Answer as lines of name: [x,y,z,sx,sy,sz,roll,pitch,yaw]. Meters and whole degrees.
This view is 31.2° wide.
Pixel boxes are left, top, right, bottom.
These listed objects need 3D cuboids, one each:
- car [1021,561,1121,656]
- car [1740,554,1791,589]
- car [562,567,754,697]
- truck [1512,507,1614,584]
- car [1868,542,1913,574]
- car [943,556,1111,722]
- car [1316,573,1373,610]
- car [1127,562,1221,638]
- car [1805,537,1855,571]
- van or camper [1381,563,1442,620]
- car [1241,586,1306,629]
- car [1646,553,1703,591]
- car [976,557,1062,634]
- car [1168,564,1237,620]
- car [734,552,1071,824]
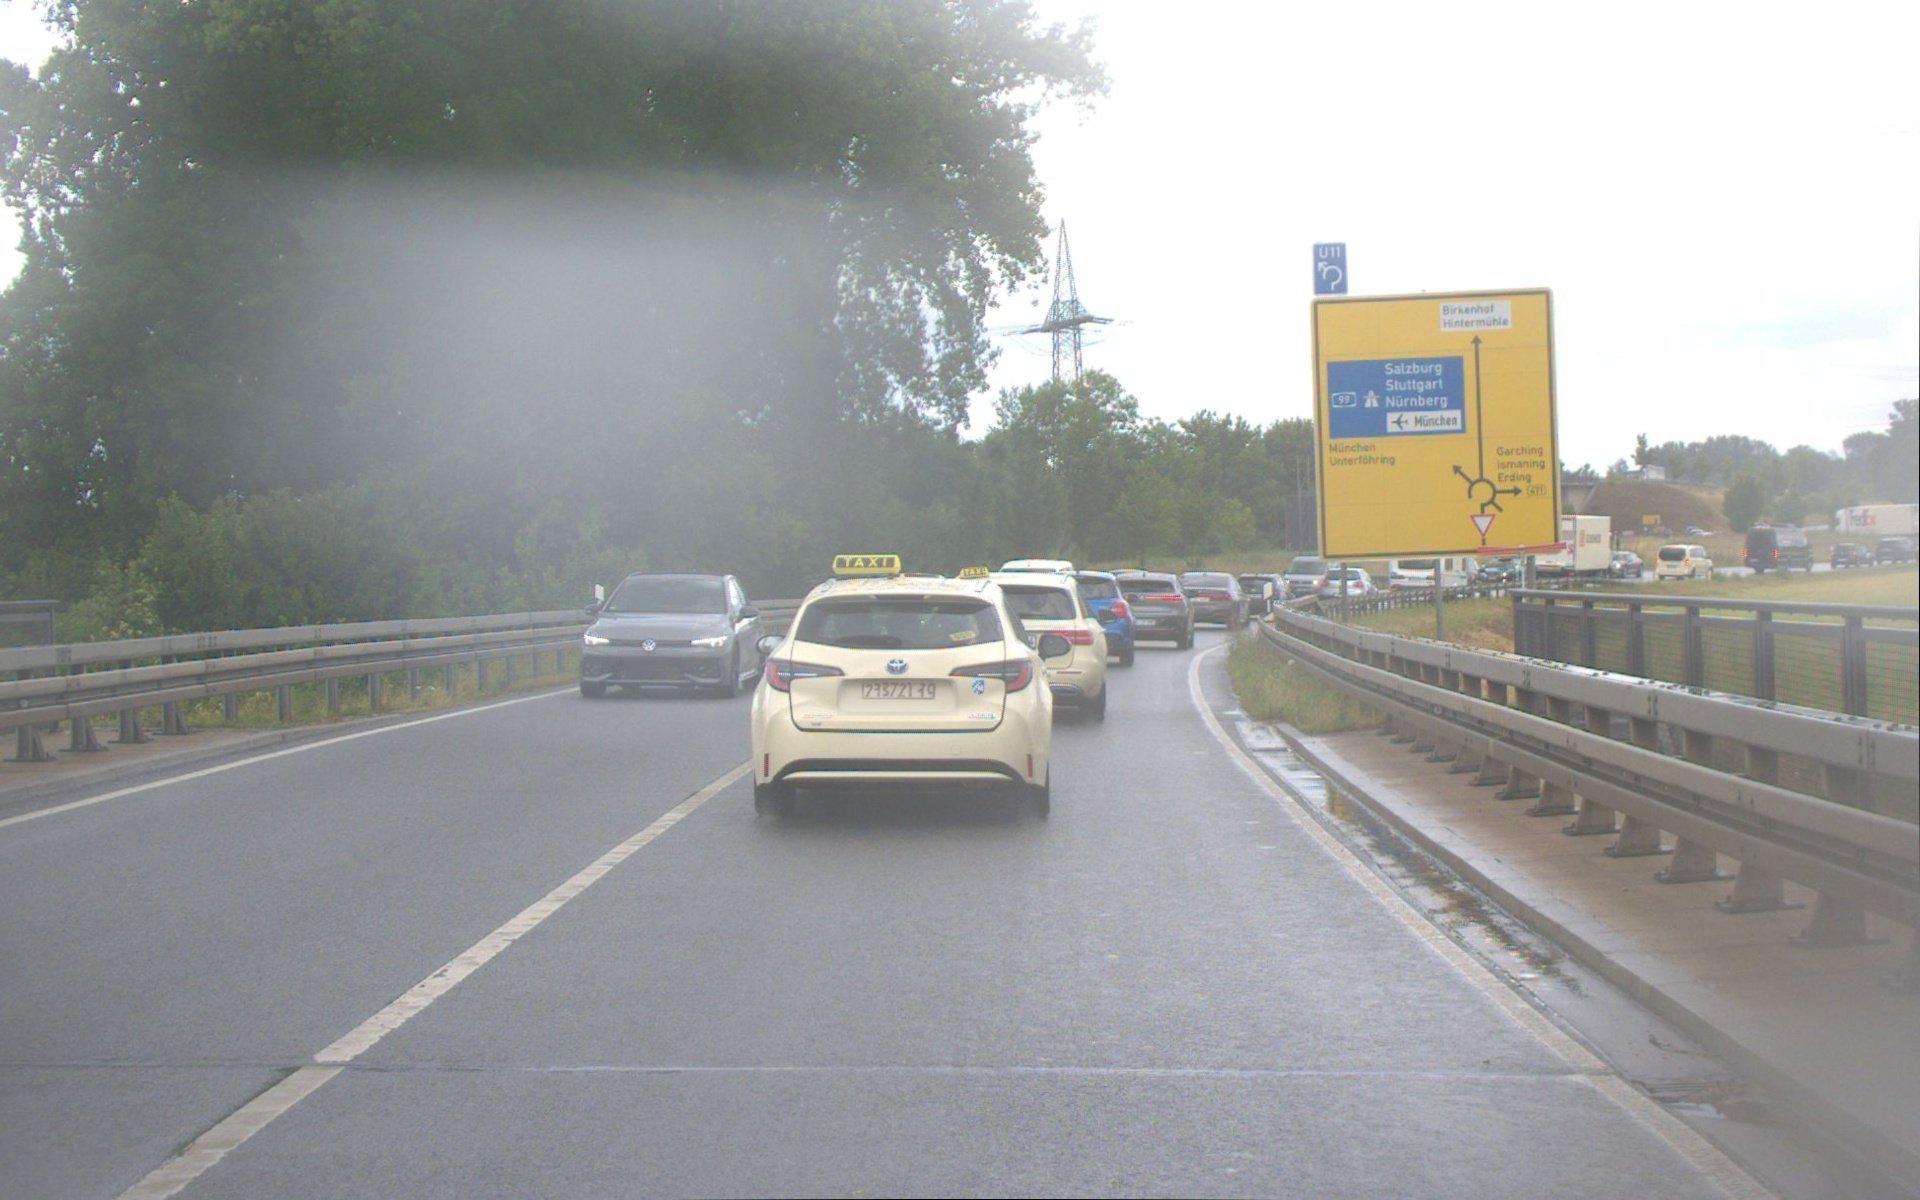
car: [1.734,0.130,54.300,1.506,1.432,3.355,1,0,1]
car: [47.202,-1.662,201.332,1.996,2.007,3.994,1,0,27]
car: [-3.526,0.357,40.753,1.835,1.438,4.103,1,0,1]
truck: [29.255,-2.588,166.602,3.144,3.550,7.512,1,0,24]
car: [59.683,-2.697,220.486,1.996,2.007,3.994,1,0,26]
car: [0.719,0.366,34.678,1.578,1.567,3.681,0,0,3]
car: [13.866,-0.290,123.902,1.484,1.304,3.474,0,0,16]
car: [4.252,-0.004,68.016,1.665,1.459,3.476,0,0,7]
car: [54.021,-2.871,213.391,2.229,2.007,3.994,1,0,26]
van or camper: [18.293,-0.341,139.170,1.995,2.246,3.997,1,0,14]
car: [9.697,0.234,106.307,1.483,1.304,3.474,0,0,14]
car: [38.896,-1.513,187.141,2.169,2.007,3.994,1,0,25]
car: [1.529,-0.140,87.479,1.862,1.885,4.489,0,1,5]
car: [6.445,-0.196,91.198,1.661,1.405,3.903,0,-1,6]
car: [-0.335,0.495,21.592,1.906,1.532,4.161,0,0,0]
